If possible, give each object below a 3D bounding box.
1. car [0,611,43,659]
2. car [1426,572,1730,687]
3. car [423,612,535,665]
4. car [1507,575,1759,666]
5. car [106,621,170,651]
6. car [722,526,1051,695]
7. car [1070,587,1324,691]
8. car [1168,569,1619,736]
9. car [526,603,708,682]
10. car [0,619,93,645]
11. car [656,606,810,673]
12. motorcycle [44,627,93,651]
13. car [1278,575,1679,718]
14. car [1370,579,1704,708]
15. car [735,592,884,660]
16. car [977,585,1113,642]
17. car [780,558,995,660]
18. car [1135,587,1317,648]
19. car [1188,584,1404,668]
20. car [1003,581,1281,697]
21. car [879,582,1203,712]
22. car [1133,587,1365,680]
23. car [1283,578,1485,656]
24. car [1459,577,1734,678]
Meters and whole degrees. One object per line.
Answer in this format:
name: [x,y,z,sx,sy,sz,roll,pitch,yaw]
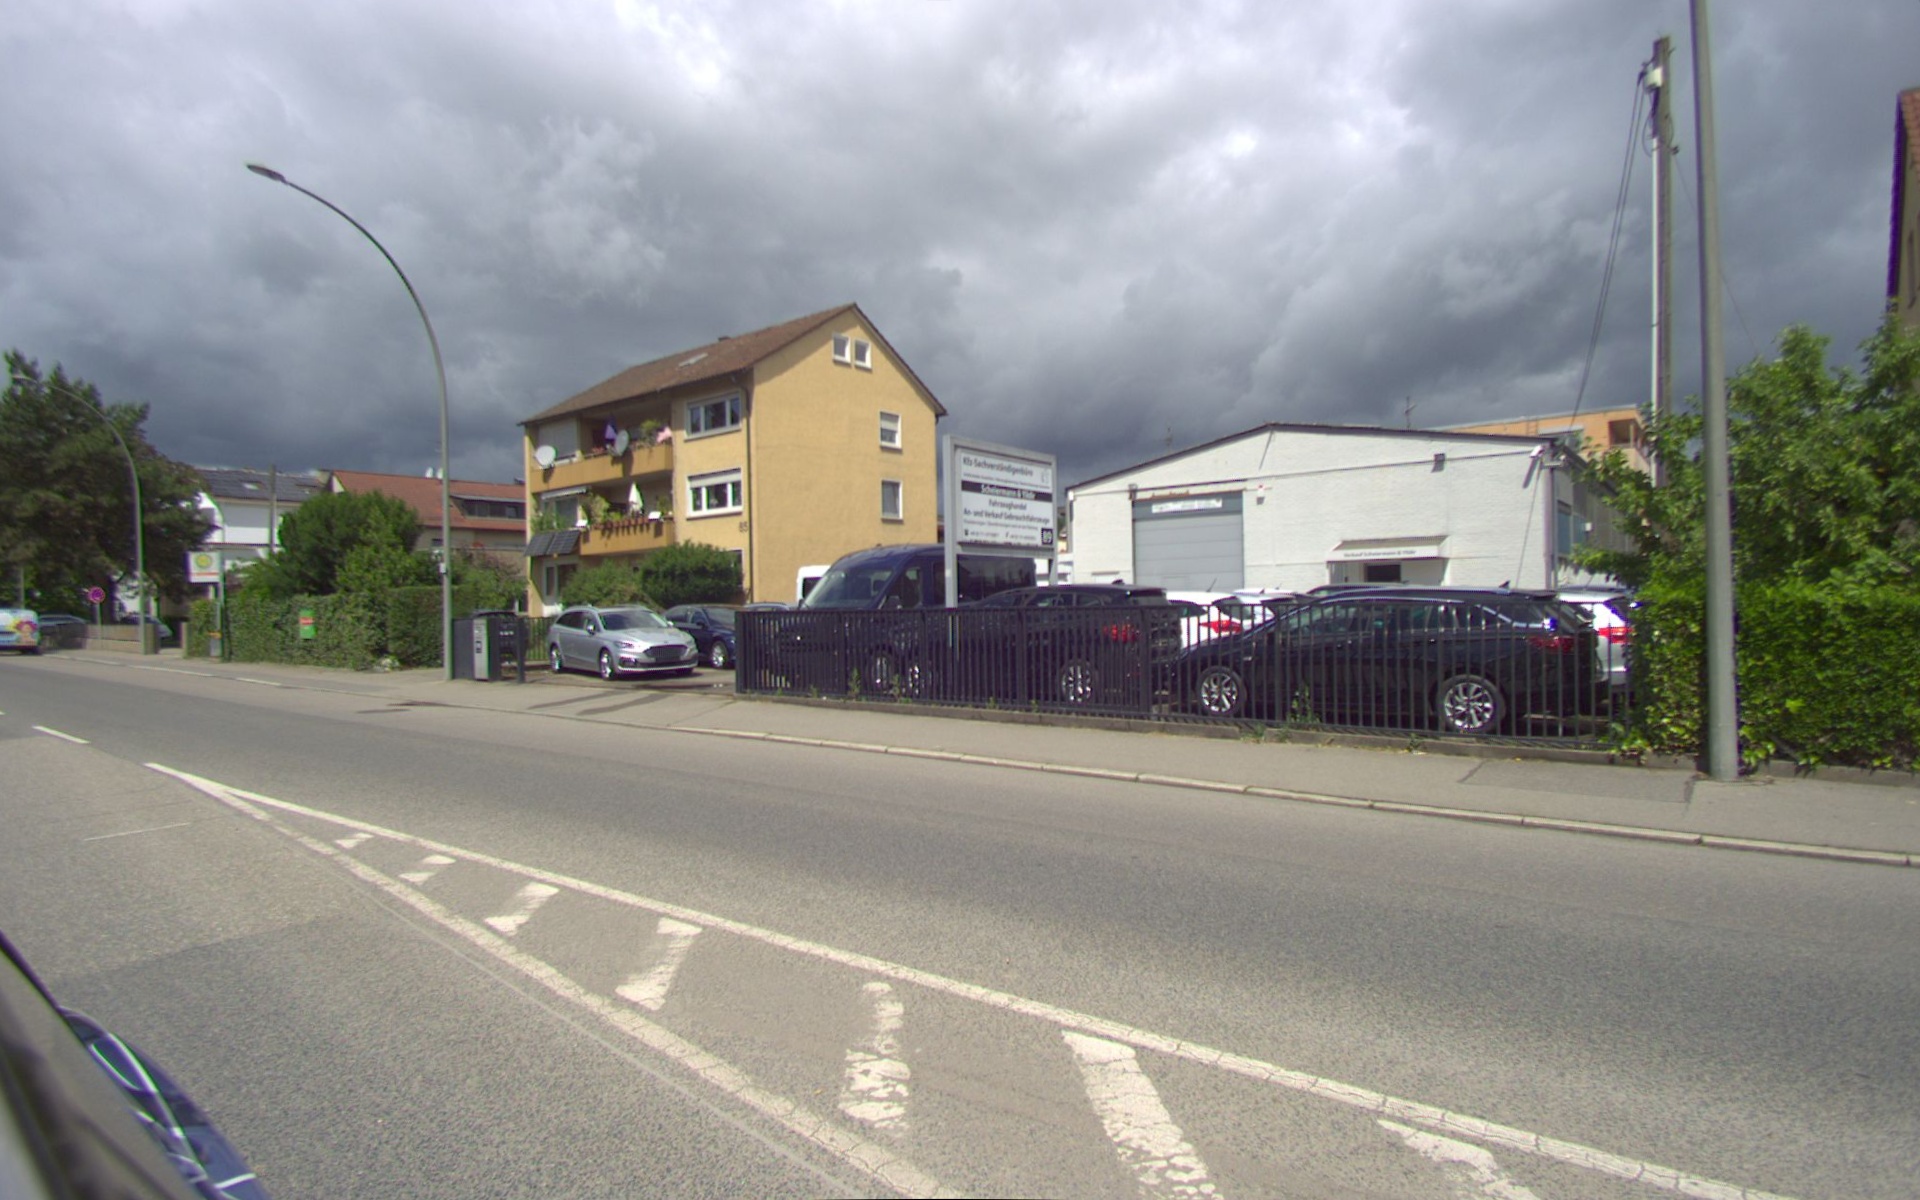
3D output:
car: [-39.559,1.478,41.754,4.891,1.868,1.815,-2,-5,40]
car: [9.837,0.453,16.257,3.994,1.630,1.759,-1,-1,38]
car: [-14.392,1.109,30.181,1.823,1.437,4.335,0,-1,-43]
car: [13.219,0.403,20.089,3.990,1.630,1.761,-1,-1,35]
car: [-45.729,1.988,56.284,4.079,1.555,1.751,-1,-1,36]
car: [-1.083,0.187,18.222,2.475,2.515,5.977,-1,-1,39]
car: [4.116,0.651,17.795,3.990,1.630,1.761,-1,-1,35]
car: [4.759,0.518,11.331,4.260,1.518,2.133,-1,-1,37]
car: [-7.580,0.855,21.987,1.968,1.497,5.349,0,-1,-39]
car: [-60.749,2.066,66.888,1.970,1.563,4.960,-1,0,38]
car: [-5.435,0.880,23.870,1.821,1.437,4.338,0,-1,-39]
motorcycle: [-46.801,2.032,53.149,1.845,1.174,0.827,0,-1,-34]
car: [6.541,0.532,12.929,4.260,1.518,2.134,-1,-1,37]
car: [8.269,0.581,14.658,3.994,1.630,1.759,-1,-1,38]
car: [-3.940,0.636,25.912,1.821,1.589,4.338,0,-1,-39]
car: [2.825,0.457,34.142,4.328,1.805,1.826,-1,-1,41]
car: [-2.122,0.293,27.892,6.134,2.514,2.386,-1,-3,43]
car: [8.058,0.556,30.914,4.998,1.726,2.030,-1,-1,37]
car: [7.059,0.534,21.394,3.990,1.630,1.761,-1,-1,35]
car: [2.842,0.586,16.134,3.990,1.630,1.761,-1,-1,35]
car: [1.093,0.623,14.632,4.277,1.607,2.013,-1,-1,37]
car: [5.566,0.622,19.646,3.990,1.630,1.761,-1,-1,35]
car: [9.672,0.397,23.170,3.990,1.630,1.761,-1,-1,35]
car: [11.304,0.478,18.180,3.990,1.630,1.761,-1,-1,35]
